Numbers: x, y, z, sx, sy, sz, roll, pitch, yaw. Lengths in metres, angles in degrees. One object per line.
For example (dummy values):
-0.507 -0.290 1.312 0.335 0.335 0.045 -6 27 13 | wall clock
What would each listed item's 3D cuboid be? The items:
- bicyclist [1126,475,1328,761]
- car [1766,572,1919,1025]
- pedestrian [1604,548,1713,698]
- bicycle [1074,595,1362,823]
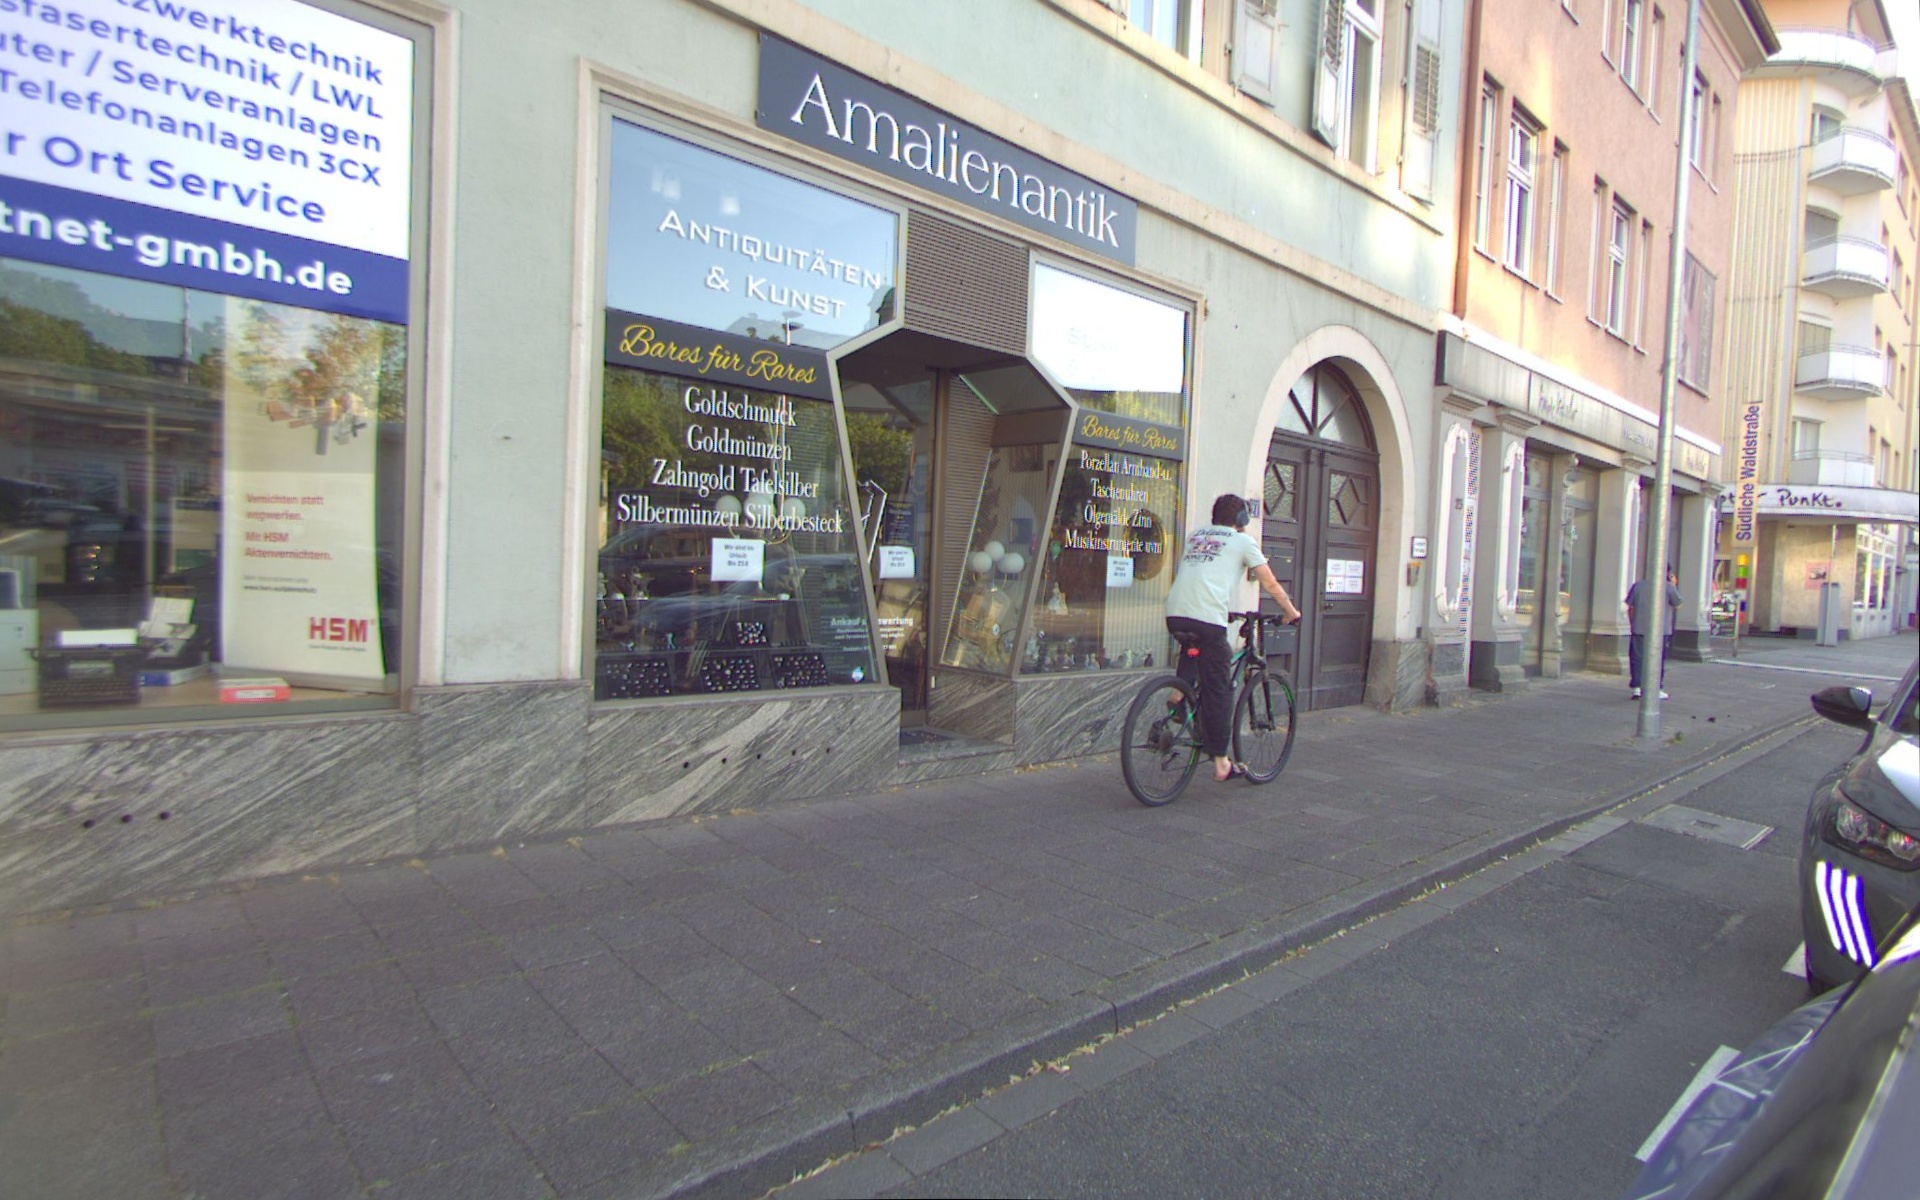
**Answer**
1.569 0.080 5.959 0.884 1.526 0.723 1 2 -40 | bicyclist
5.132 0.675 4.339 4.373 1.464 1.907 0 2 -42 | car
8.170 0.242 11.843 0.857 1.662 0.824 0 3 -43 | pedestrian
1.580 0.554 6.000 1.863 1.121 0.691 0 2 -42 | bicycle
